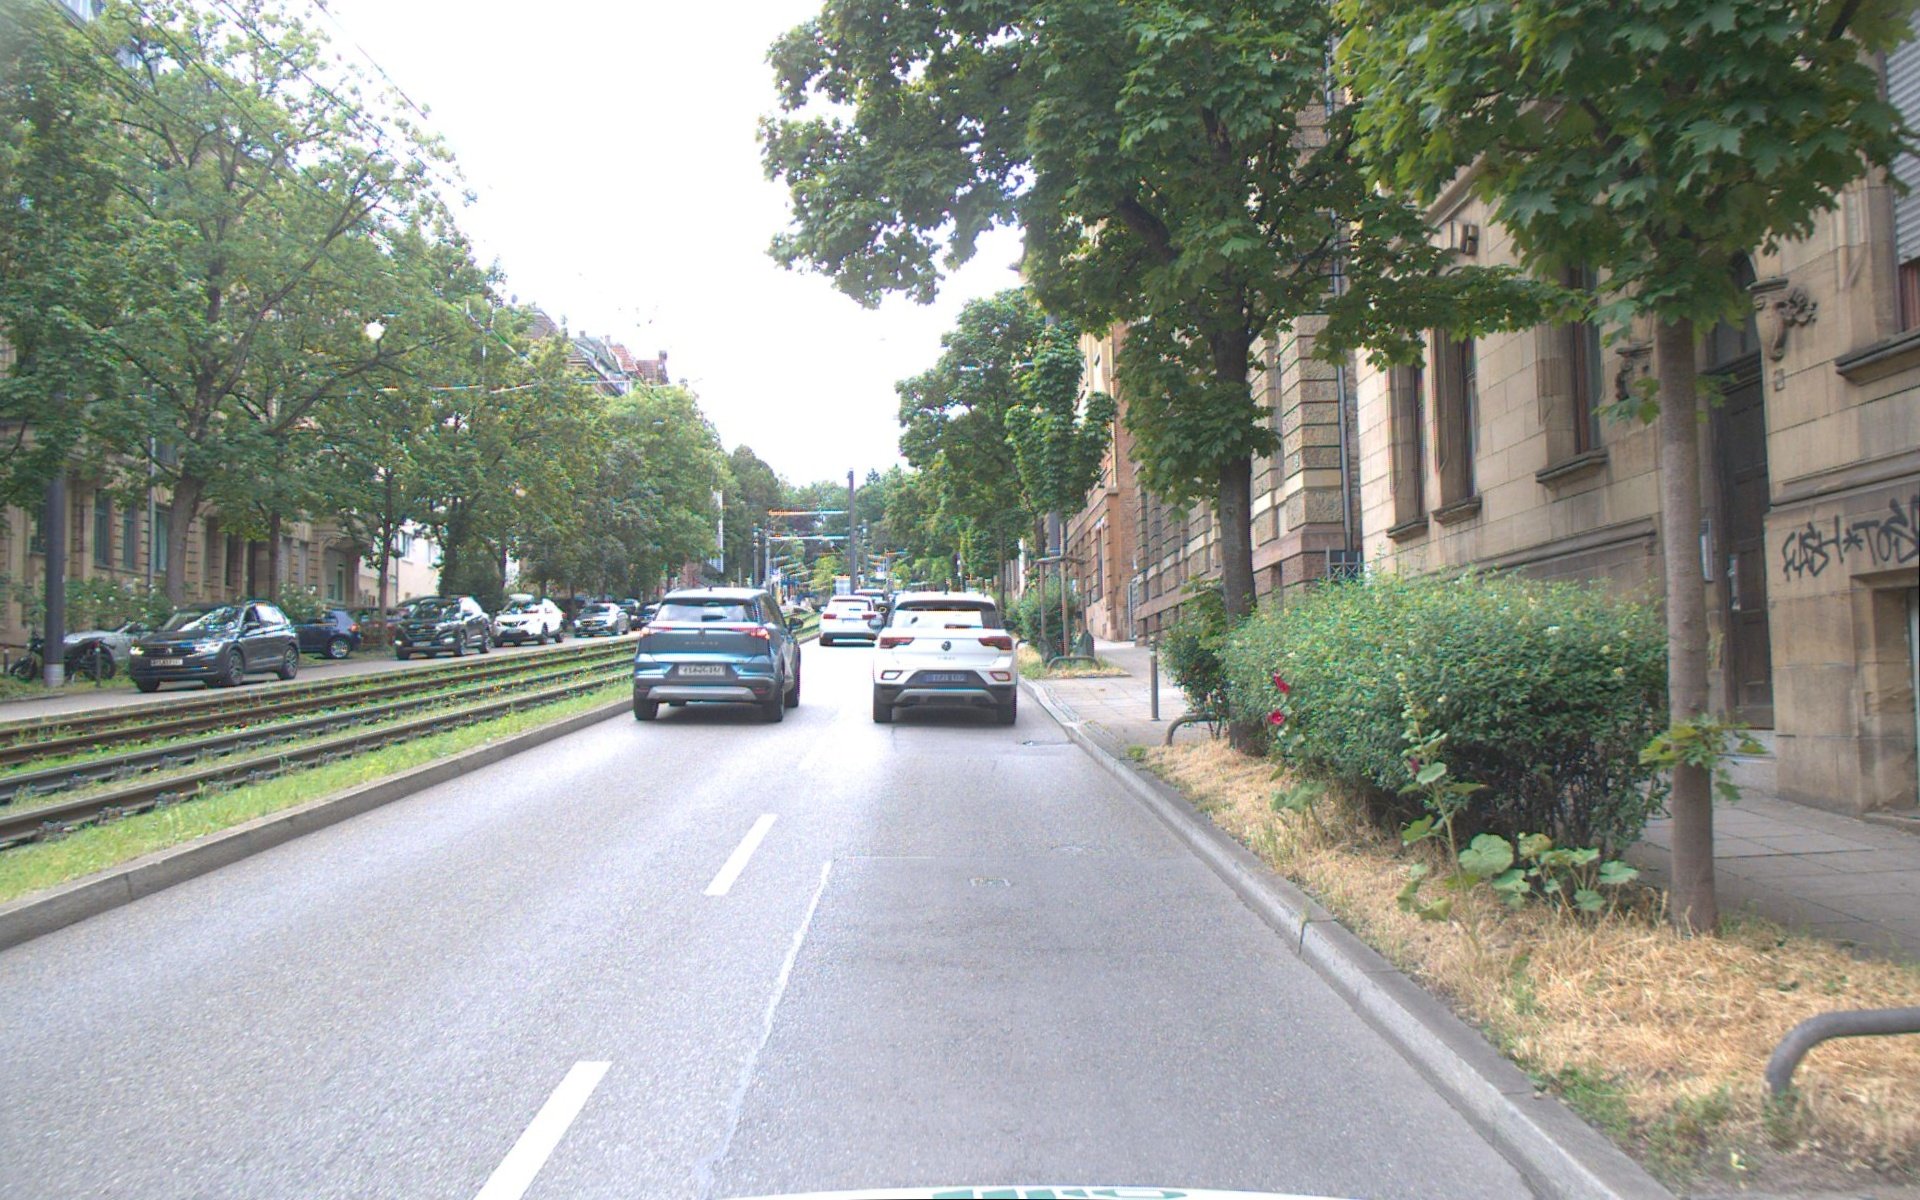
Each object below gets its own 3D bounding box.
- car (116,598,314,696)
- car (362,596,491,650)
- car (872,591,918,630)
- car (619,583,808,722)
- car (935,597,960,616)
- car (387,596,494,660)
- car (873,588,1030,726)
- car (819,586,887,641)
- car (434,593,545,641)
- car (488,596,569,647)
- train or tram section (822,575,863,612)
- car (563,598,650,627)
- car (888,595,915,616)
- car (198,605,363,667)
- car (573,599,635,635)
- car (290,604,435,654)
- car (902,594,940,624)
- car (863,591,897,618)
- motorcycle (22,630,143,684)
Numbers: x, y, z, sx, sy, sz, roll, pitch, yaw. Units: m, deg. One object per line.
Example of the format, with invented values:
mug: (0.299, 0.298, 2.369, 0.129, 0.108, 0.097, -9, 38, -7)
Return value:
car: (-14.454, 0.847, 32.374, 1.842, 1.679, 4.469, -3, 0, -1)
car: (-19.270, 0.827, 59.807, 4.136, 1.798, 1.852, -1, 0, -31)
car: (-2.713, 0.437, 69.537, 1.798, 1.573, 4.192, 0, 0, -1)
car: (-2.991, 0.605, 20.895, 1.798, 1.573, 4.192, 0, 0, -1)
car: (-1.035, 0.543, 136.465, 2.026, 1.573, 4.192, 0, 0, -1)
car: (-14.885, 0.770, 47.613, 1.744, 1.685, 4.242, -3, 0, -1)
car: (-0.171, 0.664, 21.147, 1.799, 1.573, 4.191, 0, 0, -2)
car: (-3.189, 0.403, 49.963, 1.798, 1.573, 4.192, 0, 0, -1)
car: (-19.417, 0.688, 68.251, 4.131, 1.868, 1.854, -1, 0, -28)
car: (-15.356, 0.738, 59.009, 1.744, 1.645, 4.345, -3, 0, -1)
train or tram section: (-11.327, -0.584, 160.702, 2.934, 3.407, 13.437, -1, 0, 0)
car: (-20.485, 0.730, 95.972, 4.554, 1.646, 1.912, 1, 0, -35)
car: (-4.545, 0.442, 128.914, 2.027, 1.573, 4.191, 0, 0, -2)
car: (-19.471, 1.023, 47.454, 4.105, 1.495, 1.765, -3, 0, -34)
car: (-15.354, 0.707, 71.444, 1.690, 1.434, 4.596, -3, 0, -1)
car: (-19.312, 0.926, 53.517, 4.136, 1.460, 1.852, -1, 0, -31)
car: (-2.103, 0.492, 89.936, 2.026, 1.573, 4.192, 0, 0, -1)
car: (-4.973, 0.273, 101.952, 2.027, 1.573, 4.190, 0, 0, -4)
motorcycle: (-18.387, 1.178, 34.675, 2.181, 1.077, 0.617, 0, -1, -36)
